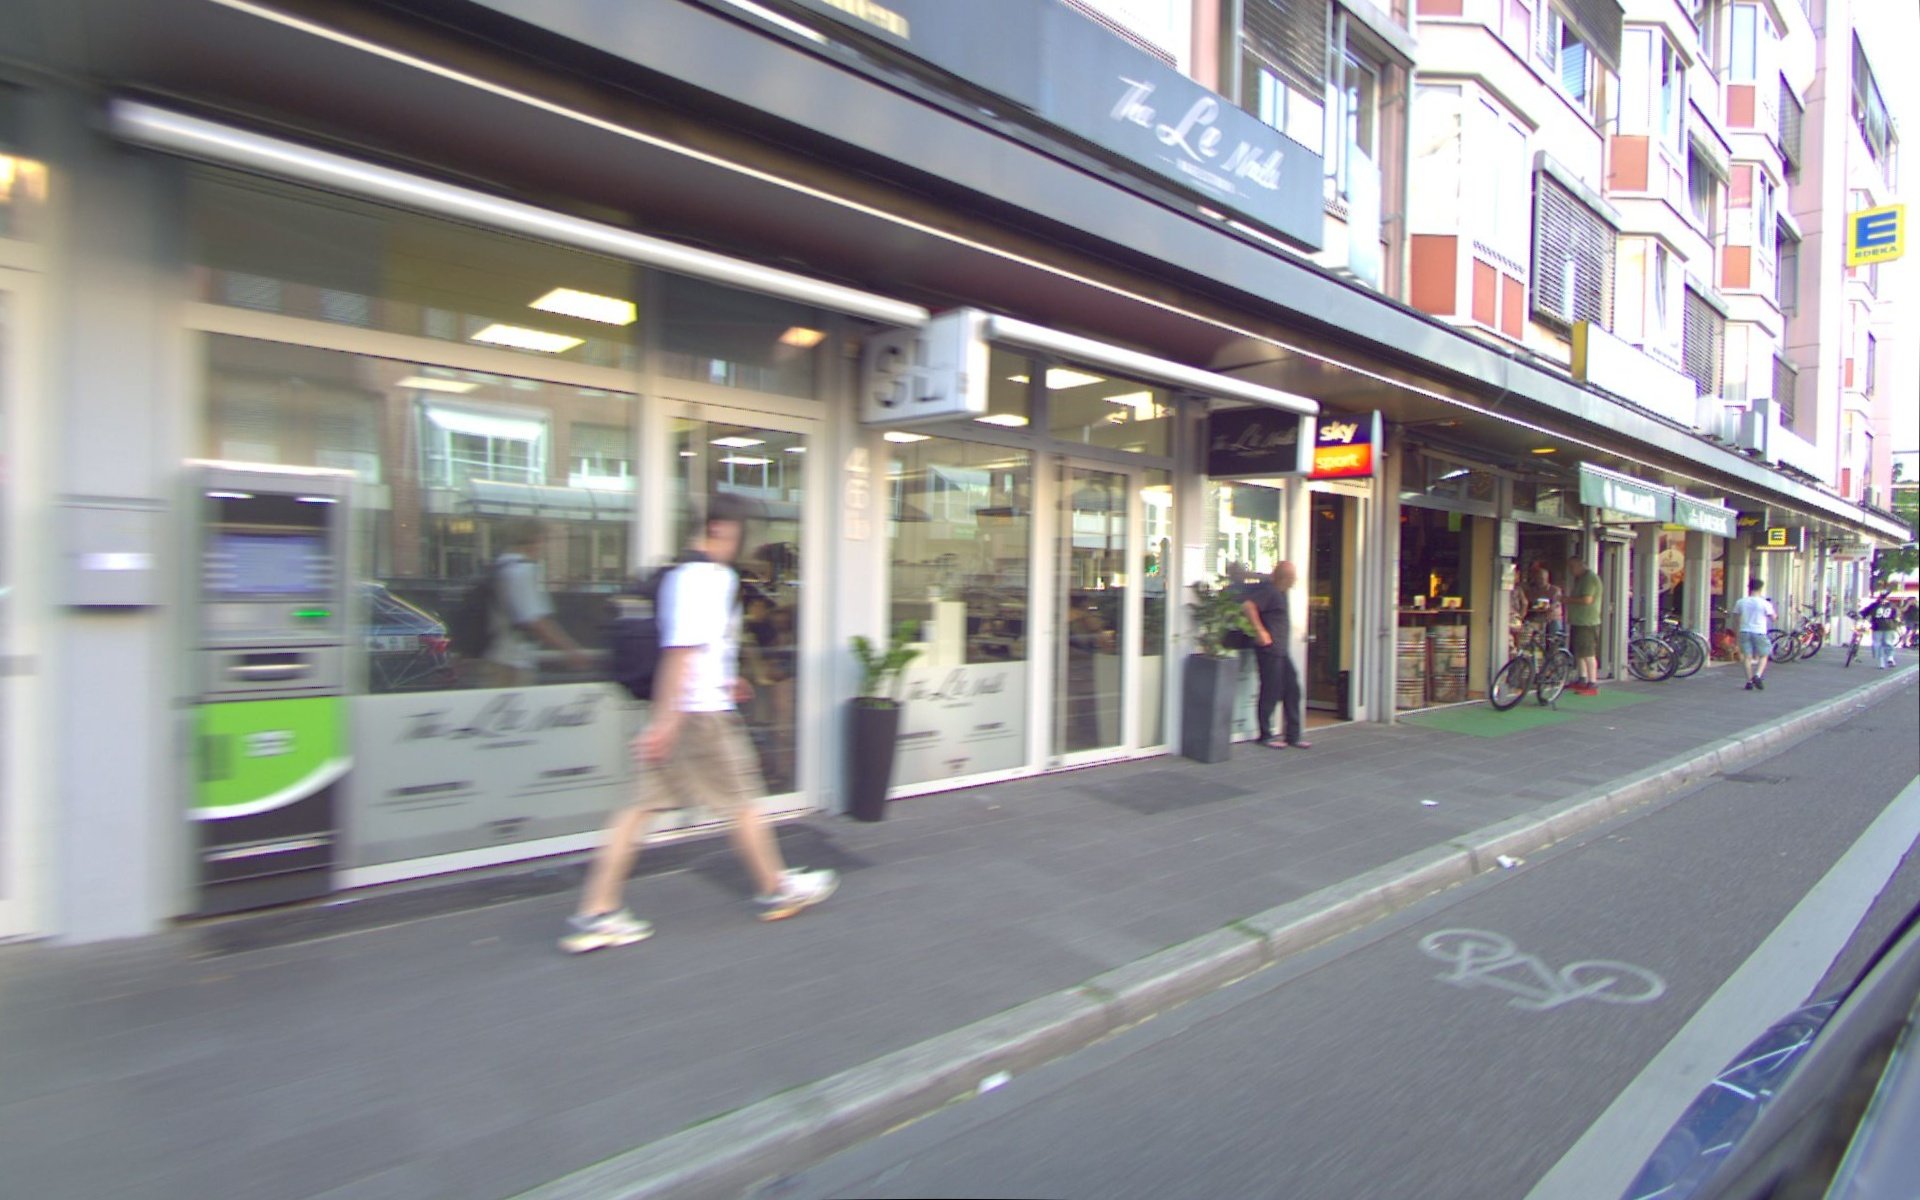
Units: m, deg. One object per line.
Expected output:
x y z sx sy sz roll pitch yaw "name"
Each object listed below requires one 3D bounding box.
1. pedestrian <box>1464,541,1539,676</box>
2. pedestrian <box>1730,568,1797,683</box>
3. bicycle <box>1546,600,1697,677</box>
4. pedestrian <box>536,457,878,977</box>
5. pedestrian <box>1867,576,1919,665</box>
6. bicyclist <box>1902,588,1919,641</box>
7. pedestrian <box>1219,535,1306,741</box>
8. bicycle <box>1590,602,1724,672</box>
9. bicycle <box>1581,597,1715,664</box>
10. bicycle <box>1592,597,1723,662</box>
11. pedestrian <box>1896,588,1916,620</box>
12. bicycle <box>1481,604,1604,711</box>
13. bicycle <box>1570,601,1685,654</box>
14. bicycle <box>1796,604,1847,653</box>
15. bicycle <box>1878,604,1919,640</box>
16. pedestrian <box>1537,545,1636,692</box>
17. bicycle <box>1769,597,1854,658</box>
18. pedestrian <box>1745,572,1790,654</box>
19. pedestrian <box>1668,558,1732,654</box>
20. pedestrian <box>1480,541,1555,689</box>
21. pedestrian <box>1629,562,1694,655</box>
7.841 0.104 14.684 0.769 1.889 0.684 2 2 18 "pedestrian"
12.304 0.368 15.494 0.758 1.694 0.633 -1 2 -41 "pedestrian"
10.612 0.590 16.302 0.566 1.073 1.928 0 3 -41 "bicycle"
-1.006 0.363 4.007 1.042 1.743 0.800 -1 4 -40 "pedestrian"
19.700 0.414 21.340 0.721 1.839 0.805 0 1 -45 "pedestrian"
31.348 0.460 33.180 0.635 1.699 0.756 1 1 45 "bicyclist"
2.581 0.296 8.644 0.540 1.694 0.462 3 2 40 "pedestrian"
11.718 0.602 17.065 0.496 0.985 1.737 0 4 -36 "bicycle"
12.646 0.536 18.650 0.567 1.073 1.926 0 3 -43 "bicycle"
13.125 0.534 19.088 0.567 1.073 1.926 0 3 -43 "bicycle"
61.581 0.239 65.867 0.742 2.039 1.057 -2 -1 36 "pedestrian"
6.850 0.635 11.871 1.764 1.079 0.659 -1 6 -42 "bicycle"
14.026 0.554 21.311 0.567 0.950 1.926 0 3 -43 "bicycle"
20.054 0.647 23.545 1.813 0.988 0.677 -1 6 -45 "bicycle"
31.479 0.741 33.046 0.756 1.138 2.171 0 2 -45 "bicycle"
8.482 0.221 13.702 0.766 1.889 0.915 -1 3 -44 "pedestrian"
18.104 0.559 21.518 1.600 1.189 0.803 0 4 -30 "bicycle"
16.498 0.264 20.689 0.451 1.614 0.409 2 3 -13 "pedestrian"
14.523 0.103 19.885 0.721 1.839 0.804 1 0 12 "pedestrian"
7.416 0.175 13.483 0.772 1.889 0.680 3 3 29 "pedestrian"
13.206 0.142 19.045 0.902 1.684 0.778 -1 3 -44 "pedestrian"
